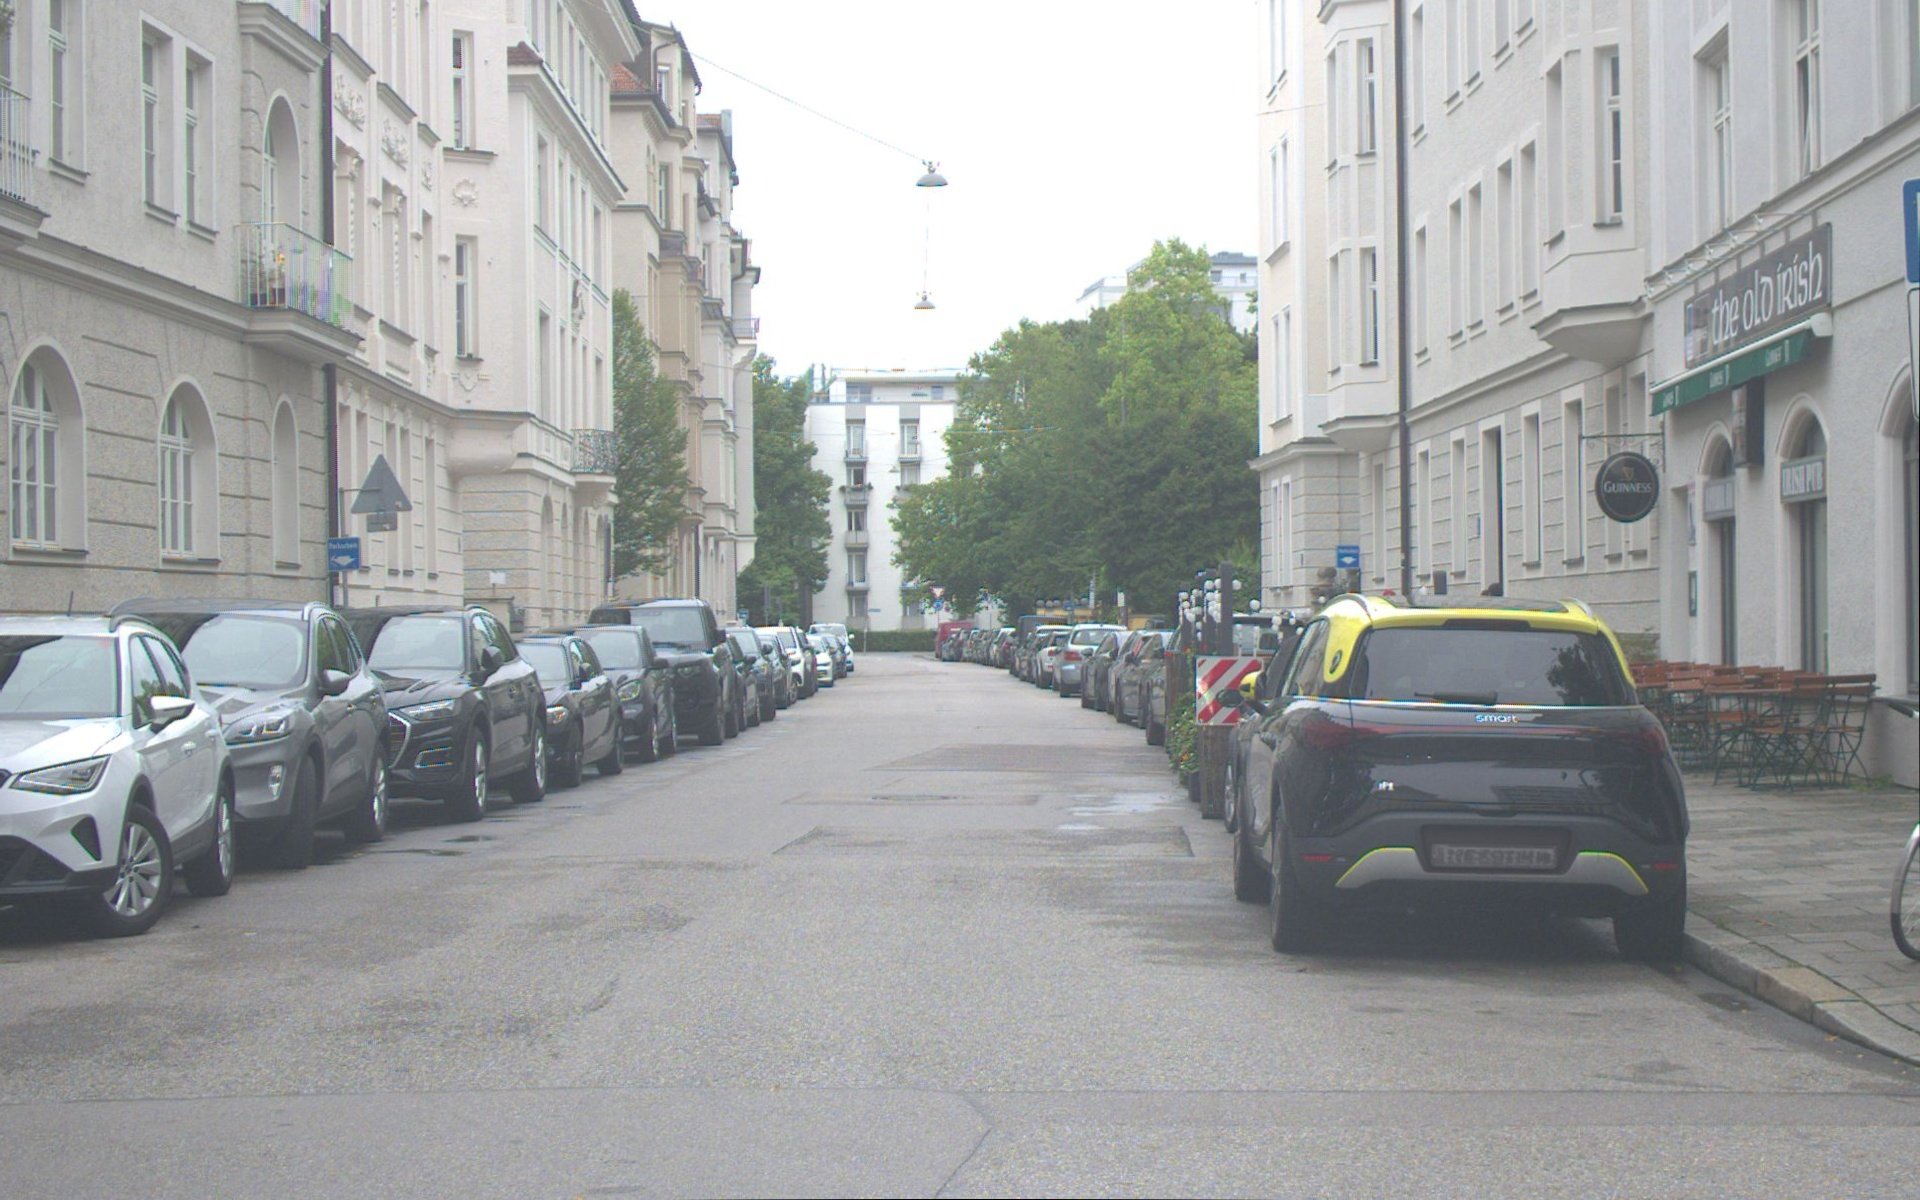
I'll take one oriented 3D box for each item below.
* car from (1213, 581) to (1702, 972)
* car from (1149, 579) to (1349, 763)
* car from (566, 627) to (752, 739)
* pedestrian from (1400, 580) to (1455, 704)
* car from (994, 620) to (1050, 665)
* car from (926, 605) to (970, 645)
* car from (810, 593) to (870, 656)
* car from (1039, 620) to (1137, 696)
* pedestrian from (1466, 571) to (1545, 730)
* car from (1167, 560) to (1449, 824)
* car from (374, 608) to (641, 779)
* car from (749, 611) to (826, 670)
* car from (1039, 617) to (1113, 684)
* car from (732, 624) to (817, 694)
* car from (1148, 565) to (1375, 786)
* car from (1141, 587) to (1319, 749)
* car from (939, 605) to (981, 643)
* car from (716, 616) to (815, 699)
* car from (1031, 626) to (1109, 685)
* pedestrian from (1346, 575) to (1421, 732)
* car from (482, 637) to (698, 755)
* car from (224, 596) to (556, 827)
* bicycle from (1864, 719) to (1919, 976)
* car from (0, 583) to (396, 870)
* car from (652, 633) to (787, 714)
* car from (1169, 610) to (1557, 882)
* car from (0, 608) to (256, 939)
[{"bbox_3d":[2.296,0.765,16.924,1.820,1.630,4.288,2,0,1],"label":"car"},{"bbox_3d":[3.022,0.711,36.699,1.994,1.850,4.344,0,0,3],"label":"car"},{"bbox_3d":[-3.797,1.026,43.965,1.906,1.324,4.000,0,0,2],"label":"car"},{"bbox_3d":[7.019,0.625,51.583,0.778,1.845,0.859,-1,0,9],"label":"pedestrian"},{"bbox_3d":[2.339,1.596,130.613,1.950,1.646,4.000,-2,0,-1],"label":"car"},{"bbox_3d":[-0.603,1.231,170.333,1.993,1.975,4.893,0,0,-3],"label":"car"},{"bbox_3d":[-3.904,0.791,112.348,1.846,2.007,4.000,0,0,-1],"label":"car"},{"bbox_3d":[2.769,1.248,75.034,1.906,1.571,4.000,0,0,-1],"label":"car"},{"bbox_3d":[6.442,0.590,40.620,0.778,1.845,1.023,-1,0,2],"label":"pedestrian"},{"bbox_3d":[2.654,0.673,27.080,1.820,1.864,4.288,2,0,1],"label":"car"},{"bbox_3d":[-4.304,0.857,33.270,1.925,1.541,4.000,0,0,2],"label":"car"},{"bbox_3d":[-4.703,1.084,94.193,1.993,1.568,4.000,0,0,-2],"label":"car"},{"bbox_3d":[3.485,1.502,103.823,1.993,1.975,4.893,0,0,-1],"label":"car"},{"bbox_3d":[-3.923,1.228,73.302,1.733,1.415,4.000,0,0,-2],"label":"car"},{"bbox_3d":[2.801,0.678,32.693,1.820,1.917,4.183,2,0,1],"label":"car"},{"bbox_3d":[3.159,0.778,40.935,1.820,1.781,4.183,2,0,1],"label":"car"},{"bbox_3d":[0.002,1.262,181.661,1.993,1.975,4.893,0,0,-3],"label":"car"},{"bbox_3d":[-3.777,1.101,67.342,1.820,1.568,4.000,0,0,-2],"label":"car"},{"bbox_3d":[2.719,1.367,85.764,1.730,1.413,3.852,0,0,-1],"label":"car"},{"bbox_3d":[5.055,0.635,41.093,0.778,1.845,1.023,-1,0,2],"label":"pedestrian"},{"bbox_3d":[-4.161,1.065,39.223,1.906,1.218,4.000,0,0,2],"label":"car"},{"bbox_3d":[-4.420,0.817,27.287,1.993,1.670,4.289,0,0,-1],"label":"car"},{"bbox_3d":[4.262,0.977,13.180,0.539,0.995,1.756,-4,1,-22],"label":"bicycle"},{"bbox_3d":[-4.899,0.749,22.232,1.993,1.670,4.012,0,0,-2],"label":"car"},{"bbox_3d":[-3.859,1.175,55.762,1.906,1.218,4.000,0,0,0],"label":"car"},{"bbox_3d":[2.438,0.840,21.925,1.976,1.493,4.637,2,0,1],"label":"car"},{"bbox_3d":[-4.843,0.782,17.376,1.993,1.468,4.219,0,0,-4],"label":"car"}]
